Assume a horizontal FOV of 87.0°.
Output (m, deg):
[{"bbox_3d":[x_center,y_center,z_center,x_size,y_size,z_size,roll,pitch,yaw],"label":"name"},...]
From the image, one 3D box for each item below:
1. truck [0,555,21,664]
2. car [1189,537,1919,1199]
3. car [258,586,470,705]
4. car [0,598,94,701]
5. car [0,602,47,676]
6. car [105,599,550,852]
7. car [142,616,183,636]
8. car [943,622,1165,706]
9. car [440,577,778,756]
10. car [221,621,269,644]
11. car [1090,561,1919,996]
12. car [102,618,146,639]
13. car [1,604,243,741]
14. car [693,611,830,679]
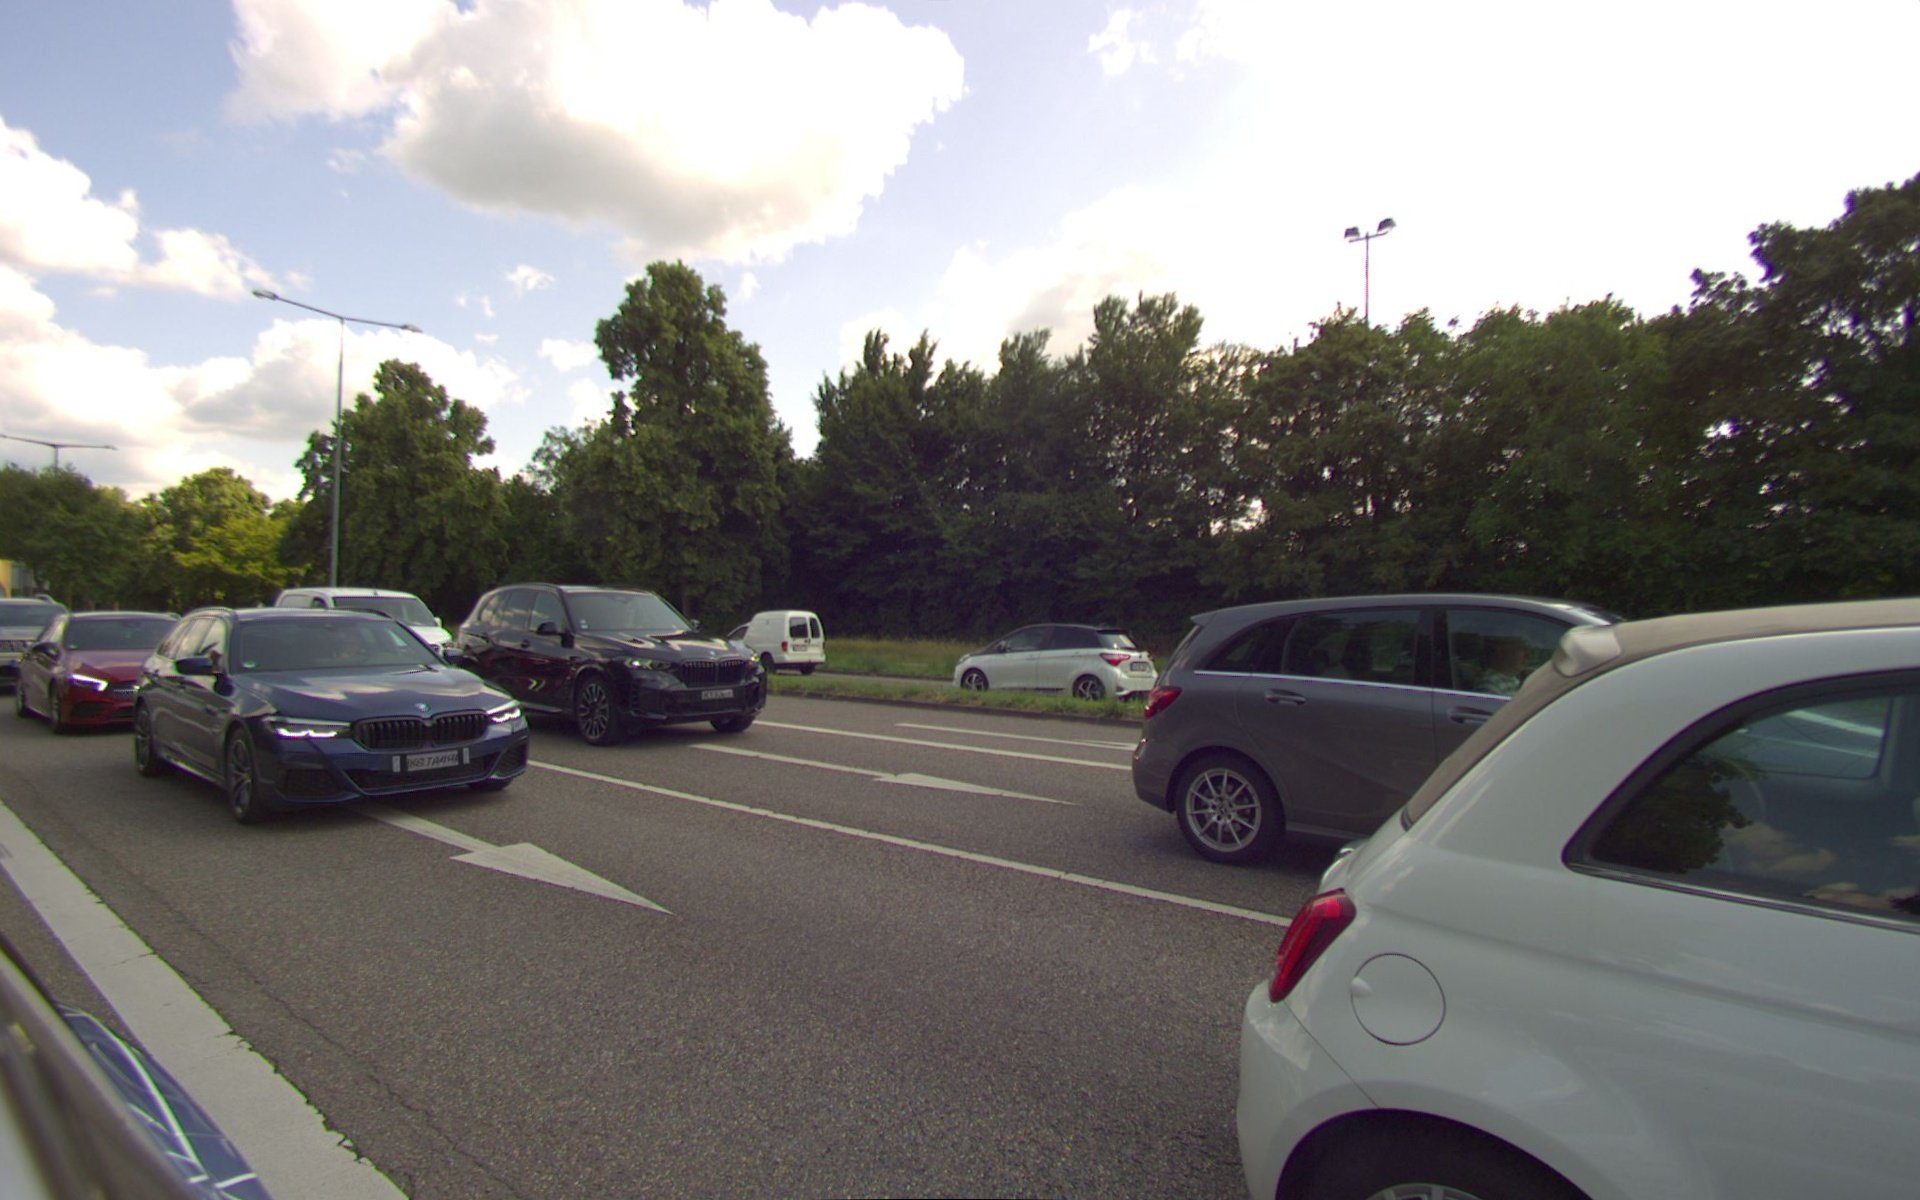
[{"bbox_3d":[-28.608,0.278,28.585,6.962,2.881,2.333,-1,0,41],"label":"truck"},{"bbox_3d":[2.271,0.673,1.355,3.538,1.508,1.553,0,0,41],"label":"car"},{"bbox_3d":[-10.467,0.695,17.614,4.728,1.812,1.747,0,-1,41],"label":"car"},{"bbox_3d":[-16.527,0.774,17.545,4.173,1.624,1.705,0,0,41],"label":"car"},{"bbox_3d":[-21.851,0.830,22.595,3.891,1.542,1.705,0,0,41],"label":"car"},{"bbox_3d":[-5.434,0.756,8.375,4.870,1.508,1.778,0,0,41],"label":"car"},{"bbox_3d":[-61.110,1.948,77.530,4.236,1.397,1.650,0,-3,41],"label":"car"},{"bbox_3d":[1.652,1.121,18.384,3.693,1.318,1.734,0,-3,41],"label":"car"},{"bbox_3d":[-4.342,0.663,12.140,4.547,1.759,1.794,0,-1,41],"label":"car"},{"bbox_3d":[-44.506,2.010,62.987,3.655,1.381,1.447,-1,-3,39],"label":"car"},{"bbox_3d":[2.994,0.677,5.441,4.357,1.631,1.681,0,-1,41],"label":"car"},{"bbox_3d":[-58.816,2.017,71.191,4.235,1.435,1.650,-1,-3,41],"label":"car"},{"bbox_3d":[-10.984,0.805,13.137,4.533,1.473,1.705,0,0,41],"label":"car"},{"bbox_3d":[-5.868,1.252,29.598,4.252,1.807,1.653,0,-1,41],"label":"car"}]
